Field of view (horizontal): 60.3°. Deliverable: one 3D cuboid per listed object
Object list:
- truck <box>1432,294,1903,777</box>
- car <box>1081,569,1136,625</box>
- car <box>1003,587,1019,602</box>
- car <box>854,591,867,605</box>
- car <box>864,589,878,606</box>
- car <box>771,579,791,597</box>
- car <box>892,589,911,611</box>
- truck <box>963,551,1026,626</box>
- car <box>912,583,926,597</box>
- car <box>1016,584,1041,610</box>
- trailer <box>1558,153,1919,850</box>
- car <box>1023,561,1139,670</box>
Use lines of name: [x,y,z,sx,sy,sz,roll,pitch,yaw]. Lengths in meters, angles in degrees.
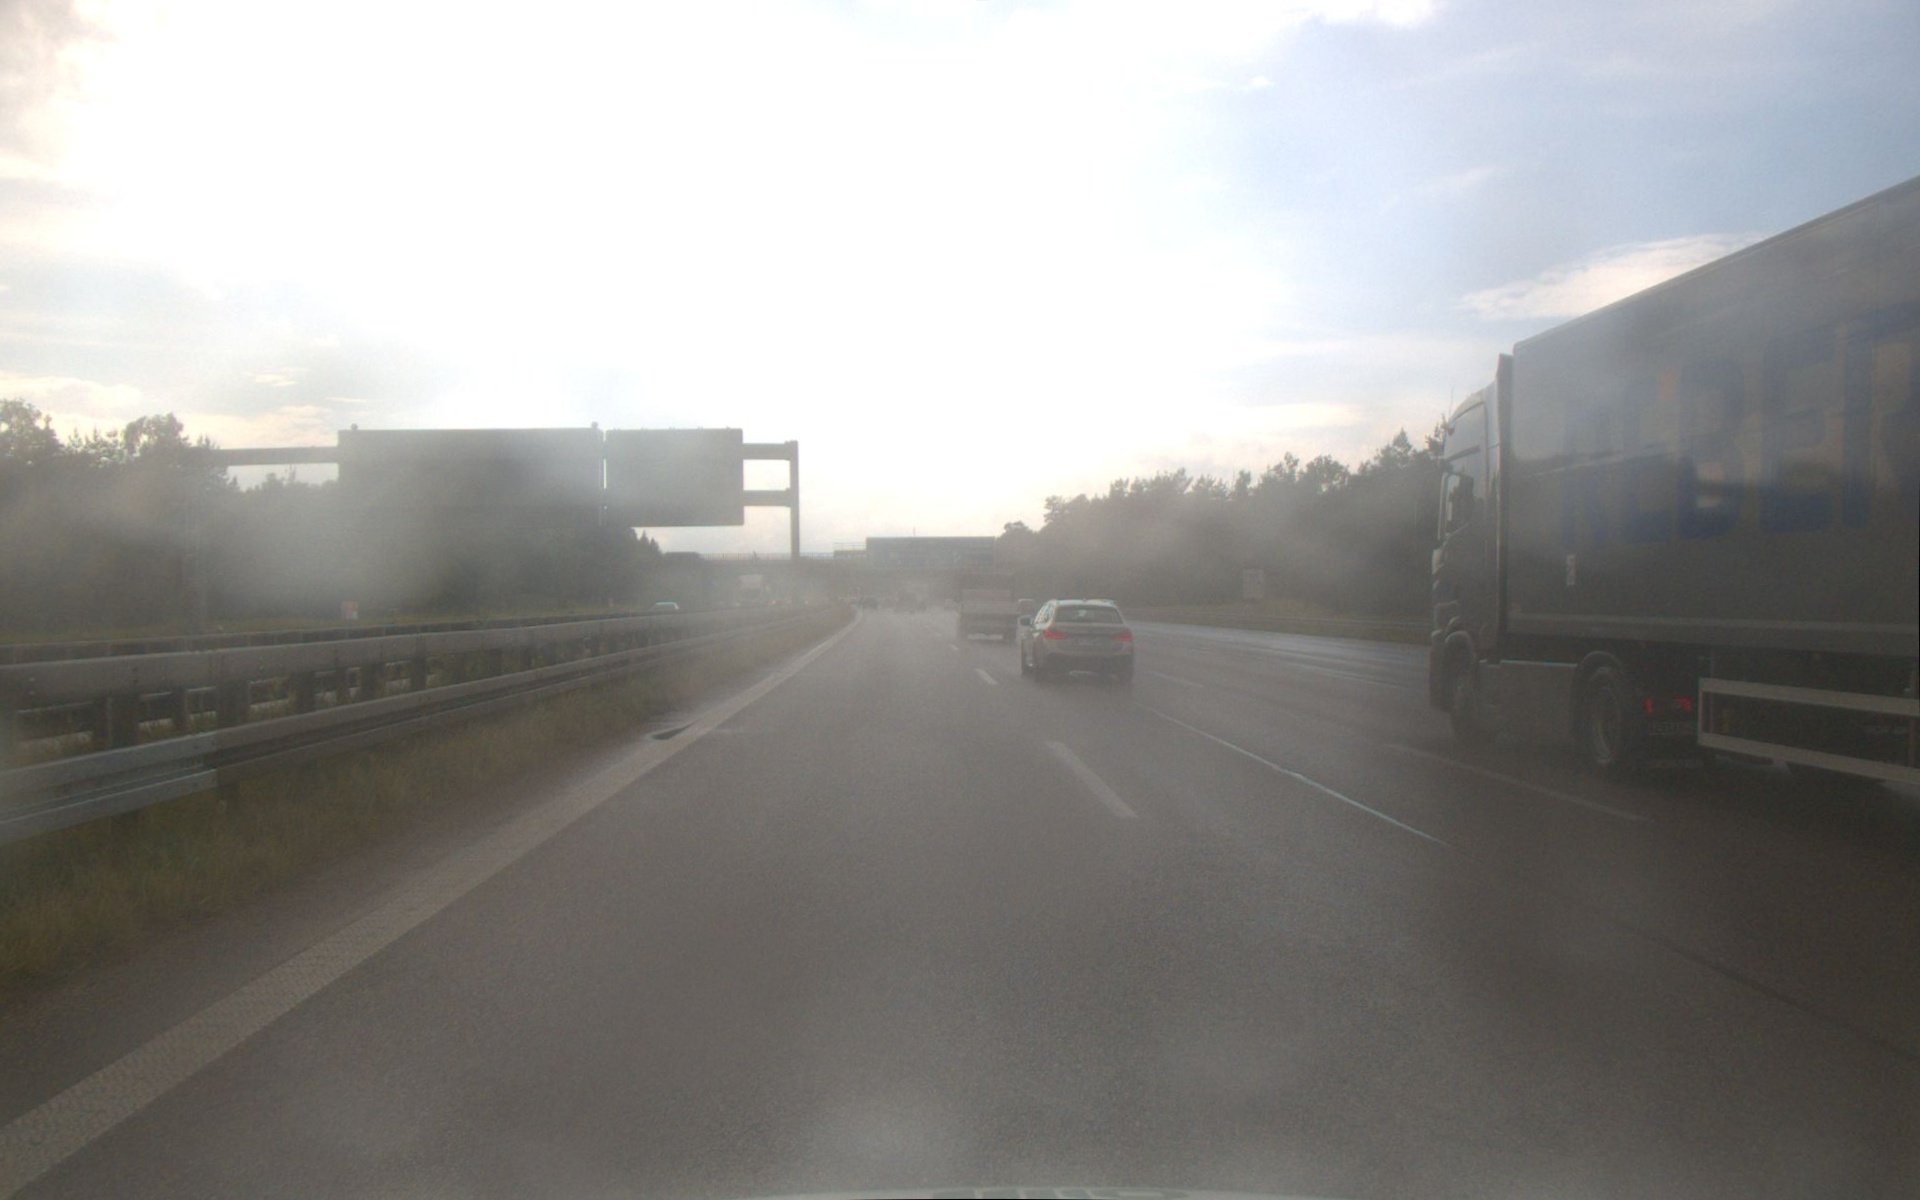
truck: [6.561,-0.541,16.222,2.247,3.935,5.391,0,0,-1]
car: [5.618,-0.123,63.007,1.868,2.049,4.001,1,1,2]
car: [5.959,-0.632,193.105,1.705,1.718,3.999,0,0,-1]
car: [-15.696,-0.323,261.430,1.758,2.049,4.000,1,1,0]
car: [-11.332,-0.361,211.704,1.584,2.049,3.999,1,1,-1]
car: [-21.353,-1.429,197.488,1.953,2.049,3.999,0,0,-1]
car: [-5.401,-0.014,153.739,1.640,2.049,3.999,1,1,-1]
truck: [1.239,-0.415,58.640,2.093,2.532,5.314,0,1,2]
car: [-6.159,-1.458,248.565,1.953,2.049,3.999,1,1,-1]
car: [5.674,-0.245,136.501,1.952,2.049,4.001,2,0,2]
trailer: [6.773,-0.567,8.439,2.277,4.071,13.408,0,0,-1]
car: [2.270,0.242,31.868,2.034,1.918,5.013,0,1,3]
